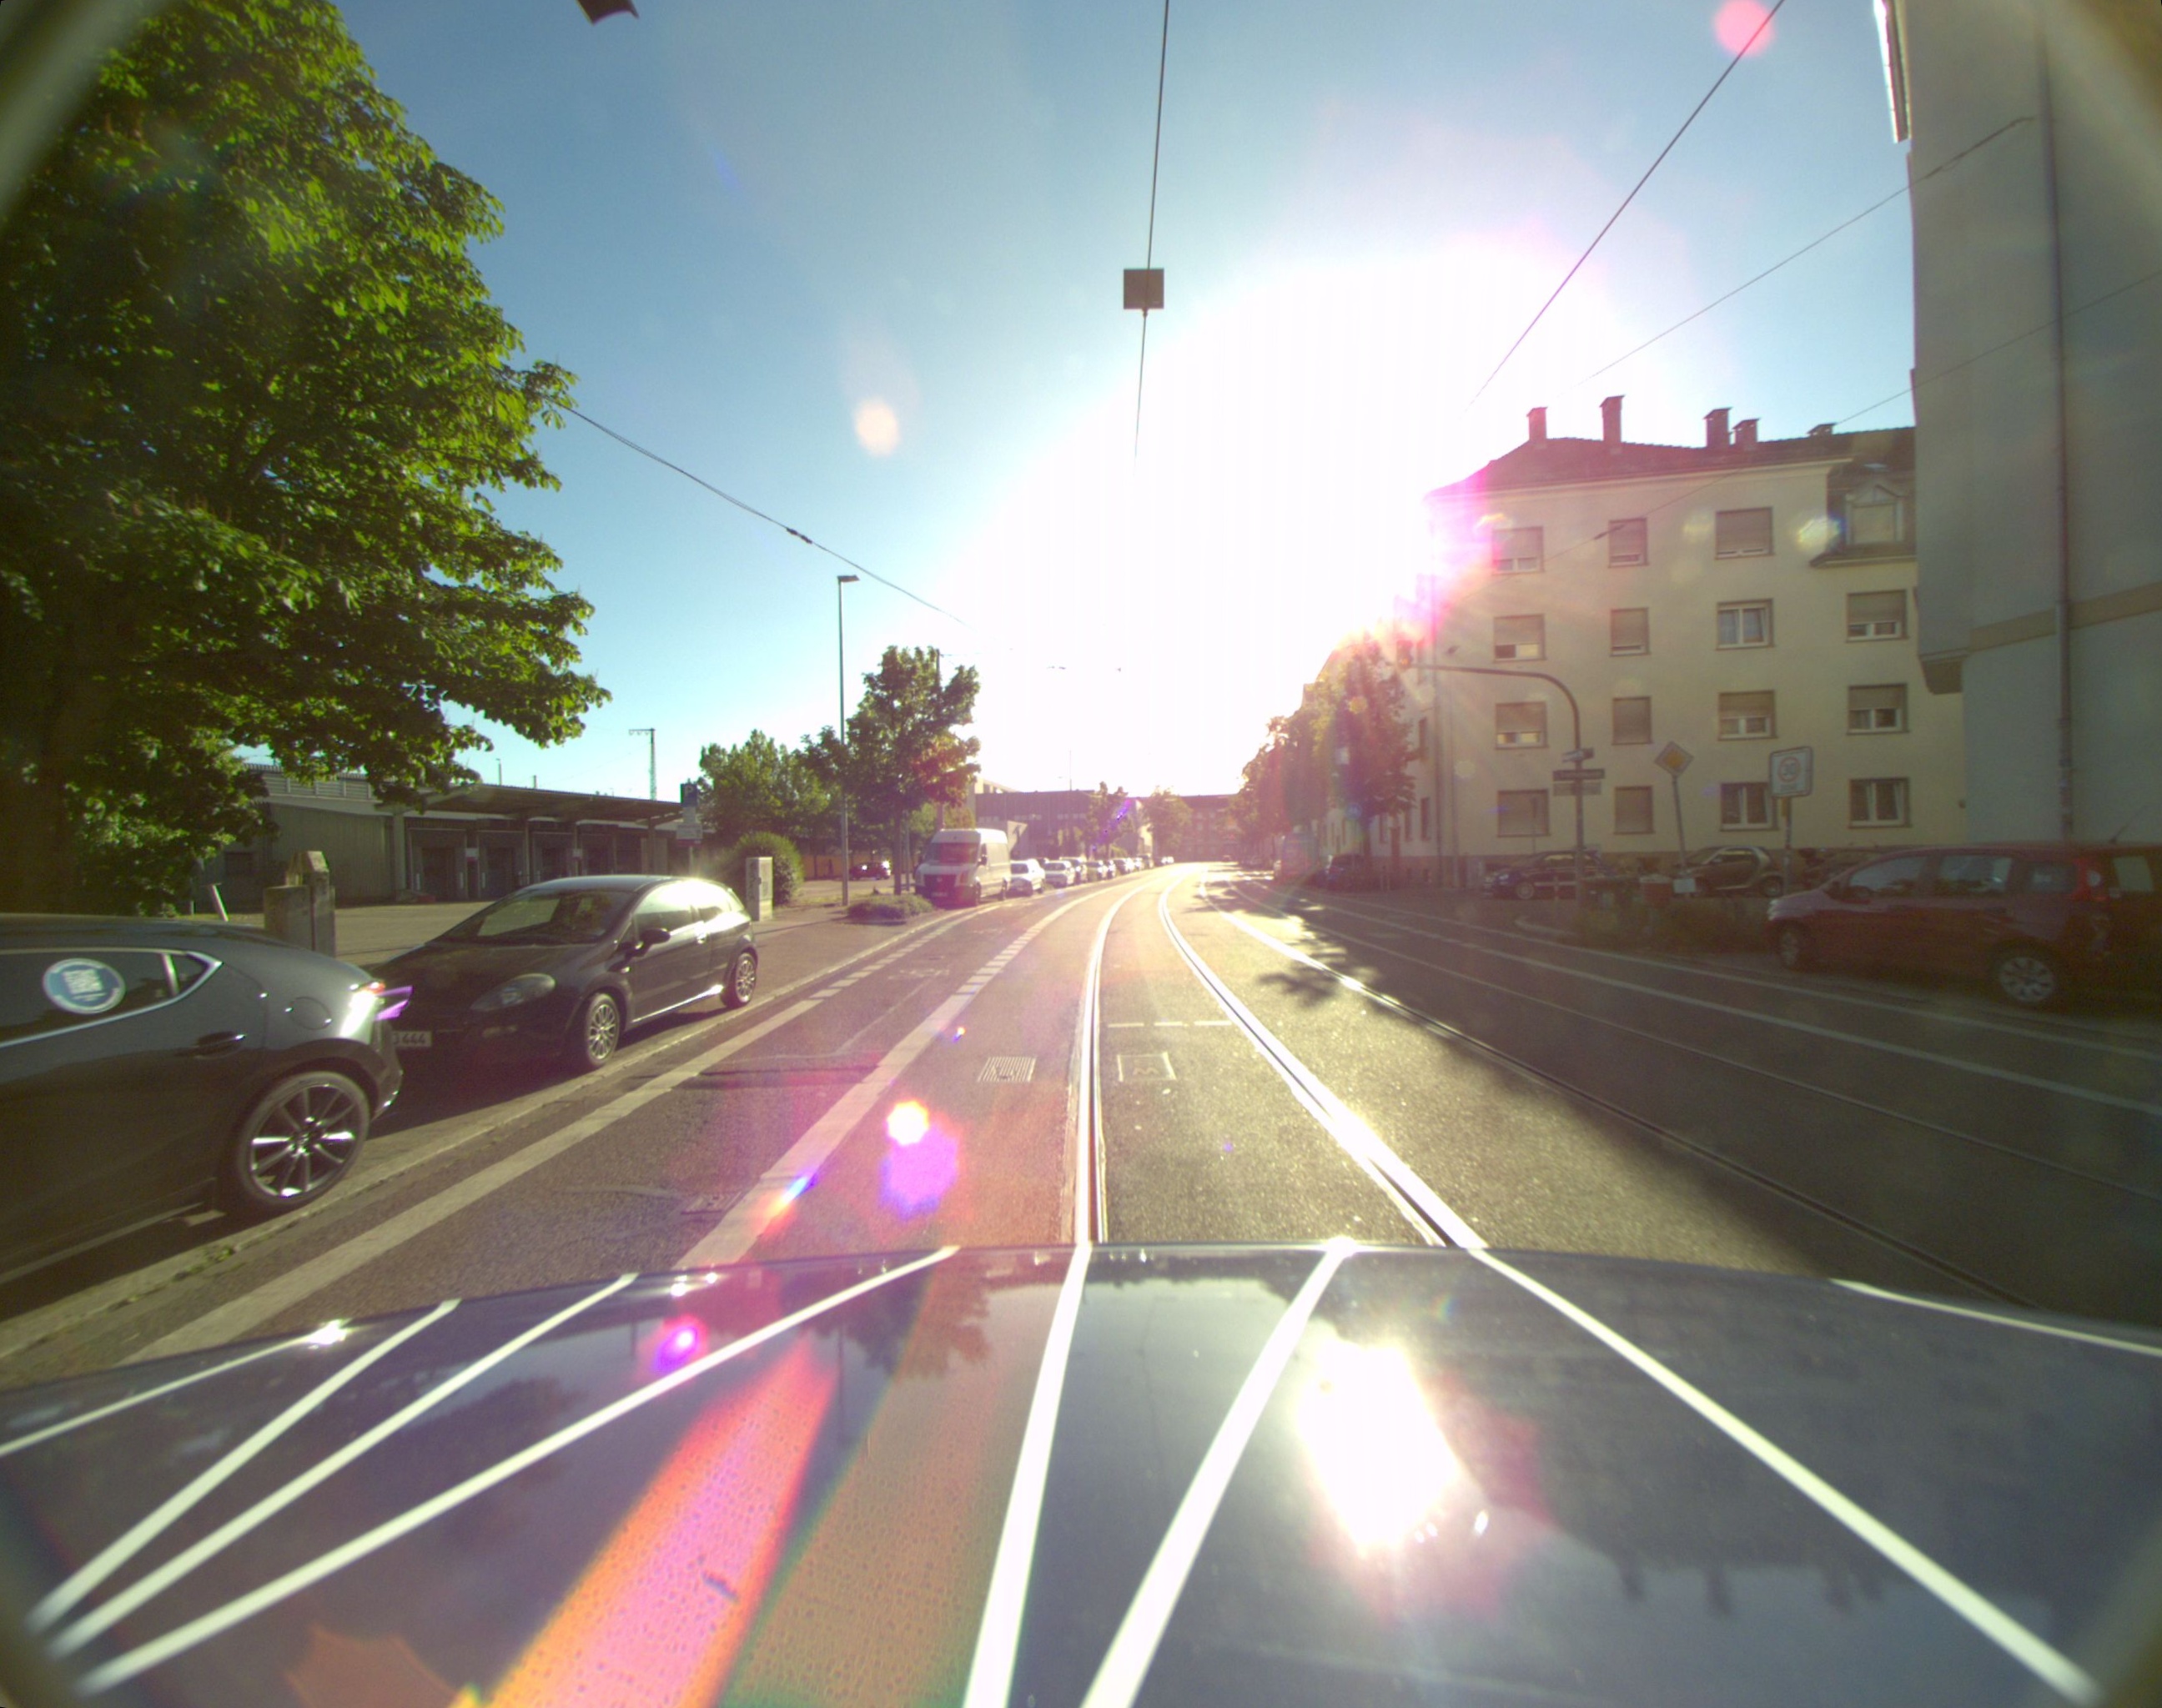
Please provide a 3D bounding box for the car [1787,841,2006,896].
[{"bbox_3d":[23.413,0.407,21.960,4.176,1.449,1.711,-1,1,7],"label":"car"}]

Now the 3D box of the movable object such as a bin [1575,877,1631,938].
[{"bbox_3d":[8.924,0.906,13.004,0.486,0.982,0.660,-3,1,2],"label":"movable object such as a bin"}]

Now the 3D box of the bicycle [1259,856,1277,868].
[{"bbox_3d":[18.491,0.790,75.113,1.990,1.034,0.531,-3,1,-36],"label":"bicycle"}]

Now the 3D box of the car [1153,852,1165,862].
[{"bbox_3d":[13.136,0.485,127.931,1.705,1.473,4.661,1,1,10],"label":"car"}]

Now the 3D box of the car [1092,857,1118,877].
[{"bbox_3d":[1.998,1.015,61.244,1.731,1.455,4.343,-3,0,6],"label":"car"}]

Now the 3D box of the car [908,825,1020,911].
[{"bbox_3d":[-3.907,0.397,26.749,2.184,2.650,6.094,1,1,8],"label":"car"}]

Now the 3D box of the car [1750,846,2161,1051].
[{"bbox_3d":[9.297,0.720,7.655,1.692,1.521,4.001,-3,0,3],"label":"car"}]

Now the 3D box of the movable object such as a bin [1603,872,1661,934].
[{"bbox_3d":[9.415,0.827,12.995,0.486,0.982,0.660,-3,1,2],"label":"movable object such as a bin"}]

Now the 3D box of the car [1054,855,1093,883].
[{"bbox_3d":[-0.430,0.902,47.703,1.731,1.595,4.345,1,1,10],"label":"car"}]

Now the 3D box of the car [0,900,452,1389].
[{"bbox_3d":[-4.477,1.029,2.102,1.693,1.521,4.356,0,0,3],"label":"car"}]

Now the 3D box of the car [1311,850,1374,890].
[{"bbox_3d":[11.516,0.646,33.735,1.794,1.551,4.645,-3,0,9],"label":"car"}]

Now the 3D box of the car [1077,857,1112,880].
[{"bbox_3d":[1.045,1.019,55.818,1.731,1.455,4.501,-3,0,11],"label":"car"}]

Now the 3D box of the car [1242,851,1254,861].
[{"bbox_3d":[26.898,0.337,122.550,1.575,1.496,4.003,-3,0,10],"label":"car"}]

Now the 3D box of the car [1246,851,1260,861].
[{"bbox_3d":[26.446,0.259,116.729,1.876,1.420,4.296,-3,0,10],"label":"car"}]

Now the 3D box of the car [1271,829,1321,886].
[{"bbox_3d":[11.719,0.137,41.724,2.021,2.809,6.036,-3,0,11],"label":"car"}]

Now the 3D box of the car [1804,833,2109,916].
[{"bbox_3d":[18.550,0.423,16.304,3.995,1.521,1.908,-3,0,8],"label":"car"}]

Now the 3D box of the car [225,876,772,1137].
[{"bbox_3d":[-4.544,1.031,6.850,1.693,1.521,4.001,0,0,3],"label":"car"}]

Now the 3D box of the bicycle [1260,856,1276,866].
[{"bbox_3d":[19.443,0.731,78.859,1.790,1.034,0.667,-3,1,-43],"label":"bicycle"}]

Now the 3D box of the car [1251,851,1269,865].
[{"bbox_3d":[22.018,0.468,93.601,1.868,1.482,4.664,-3,0,10],"label":"car"}]

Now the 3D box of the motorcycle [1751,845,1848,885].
[{"bbox_3d":[23.908,0.357,25.301,2.550,1.299,0.625,-1,2,2],"label":"motorcycle"}]

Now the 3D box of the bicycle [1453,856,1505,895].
[{"bbox_3d":[13.290,0.711,25.385,1.505,1.222,0.397,-3,4,2],"label":"bicycle"}]

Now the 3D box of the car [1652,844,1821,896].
[{"bbox_3d":[19.307,0.448,22.503,3.515,1.449,1.579,-1,1,6],"label":"car"}]

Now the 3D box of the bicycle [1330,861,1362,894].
[{"bbox_3d":[9.722,0.839,27.964,0.513,1.127,2.031,-3,0,3],"label":"bicycle"}]

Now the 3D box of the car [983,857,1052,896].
[{"bbox_3d":[-2.670,0.942,33.187,1.914,1.521,4.603,-1,0,9],"label":"car"}]

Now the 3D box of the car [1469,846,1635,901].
[{"bbox_3d":[14.315,0.564,23.262,3.894,1.449,1.769,-3,0,6],"label":"car"}]

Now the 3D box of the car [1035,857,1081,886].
[{"bbox_3d":[-1.218,0.930,42.144,1.731,1.503,4.254,0,1,10],"label":"car"}]
